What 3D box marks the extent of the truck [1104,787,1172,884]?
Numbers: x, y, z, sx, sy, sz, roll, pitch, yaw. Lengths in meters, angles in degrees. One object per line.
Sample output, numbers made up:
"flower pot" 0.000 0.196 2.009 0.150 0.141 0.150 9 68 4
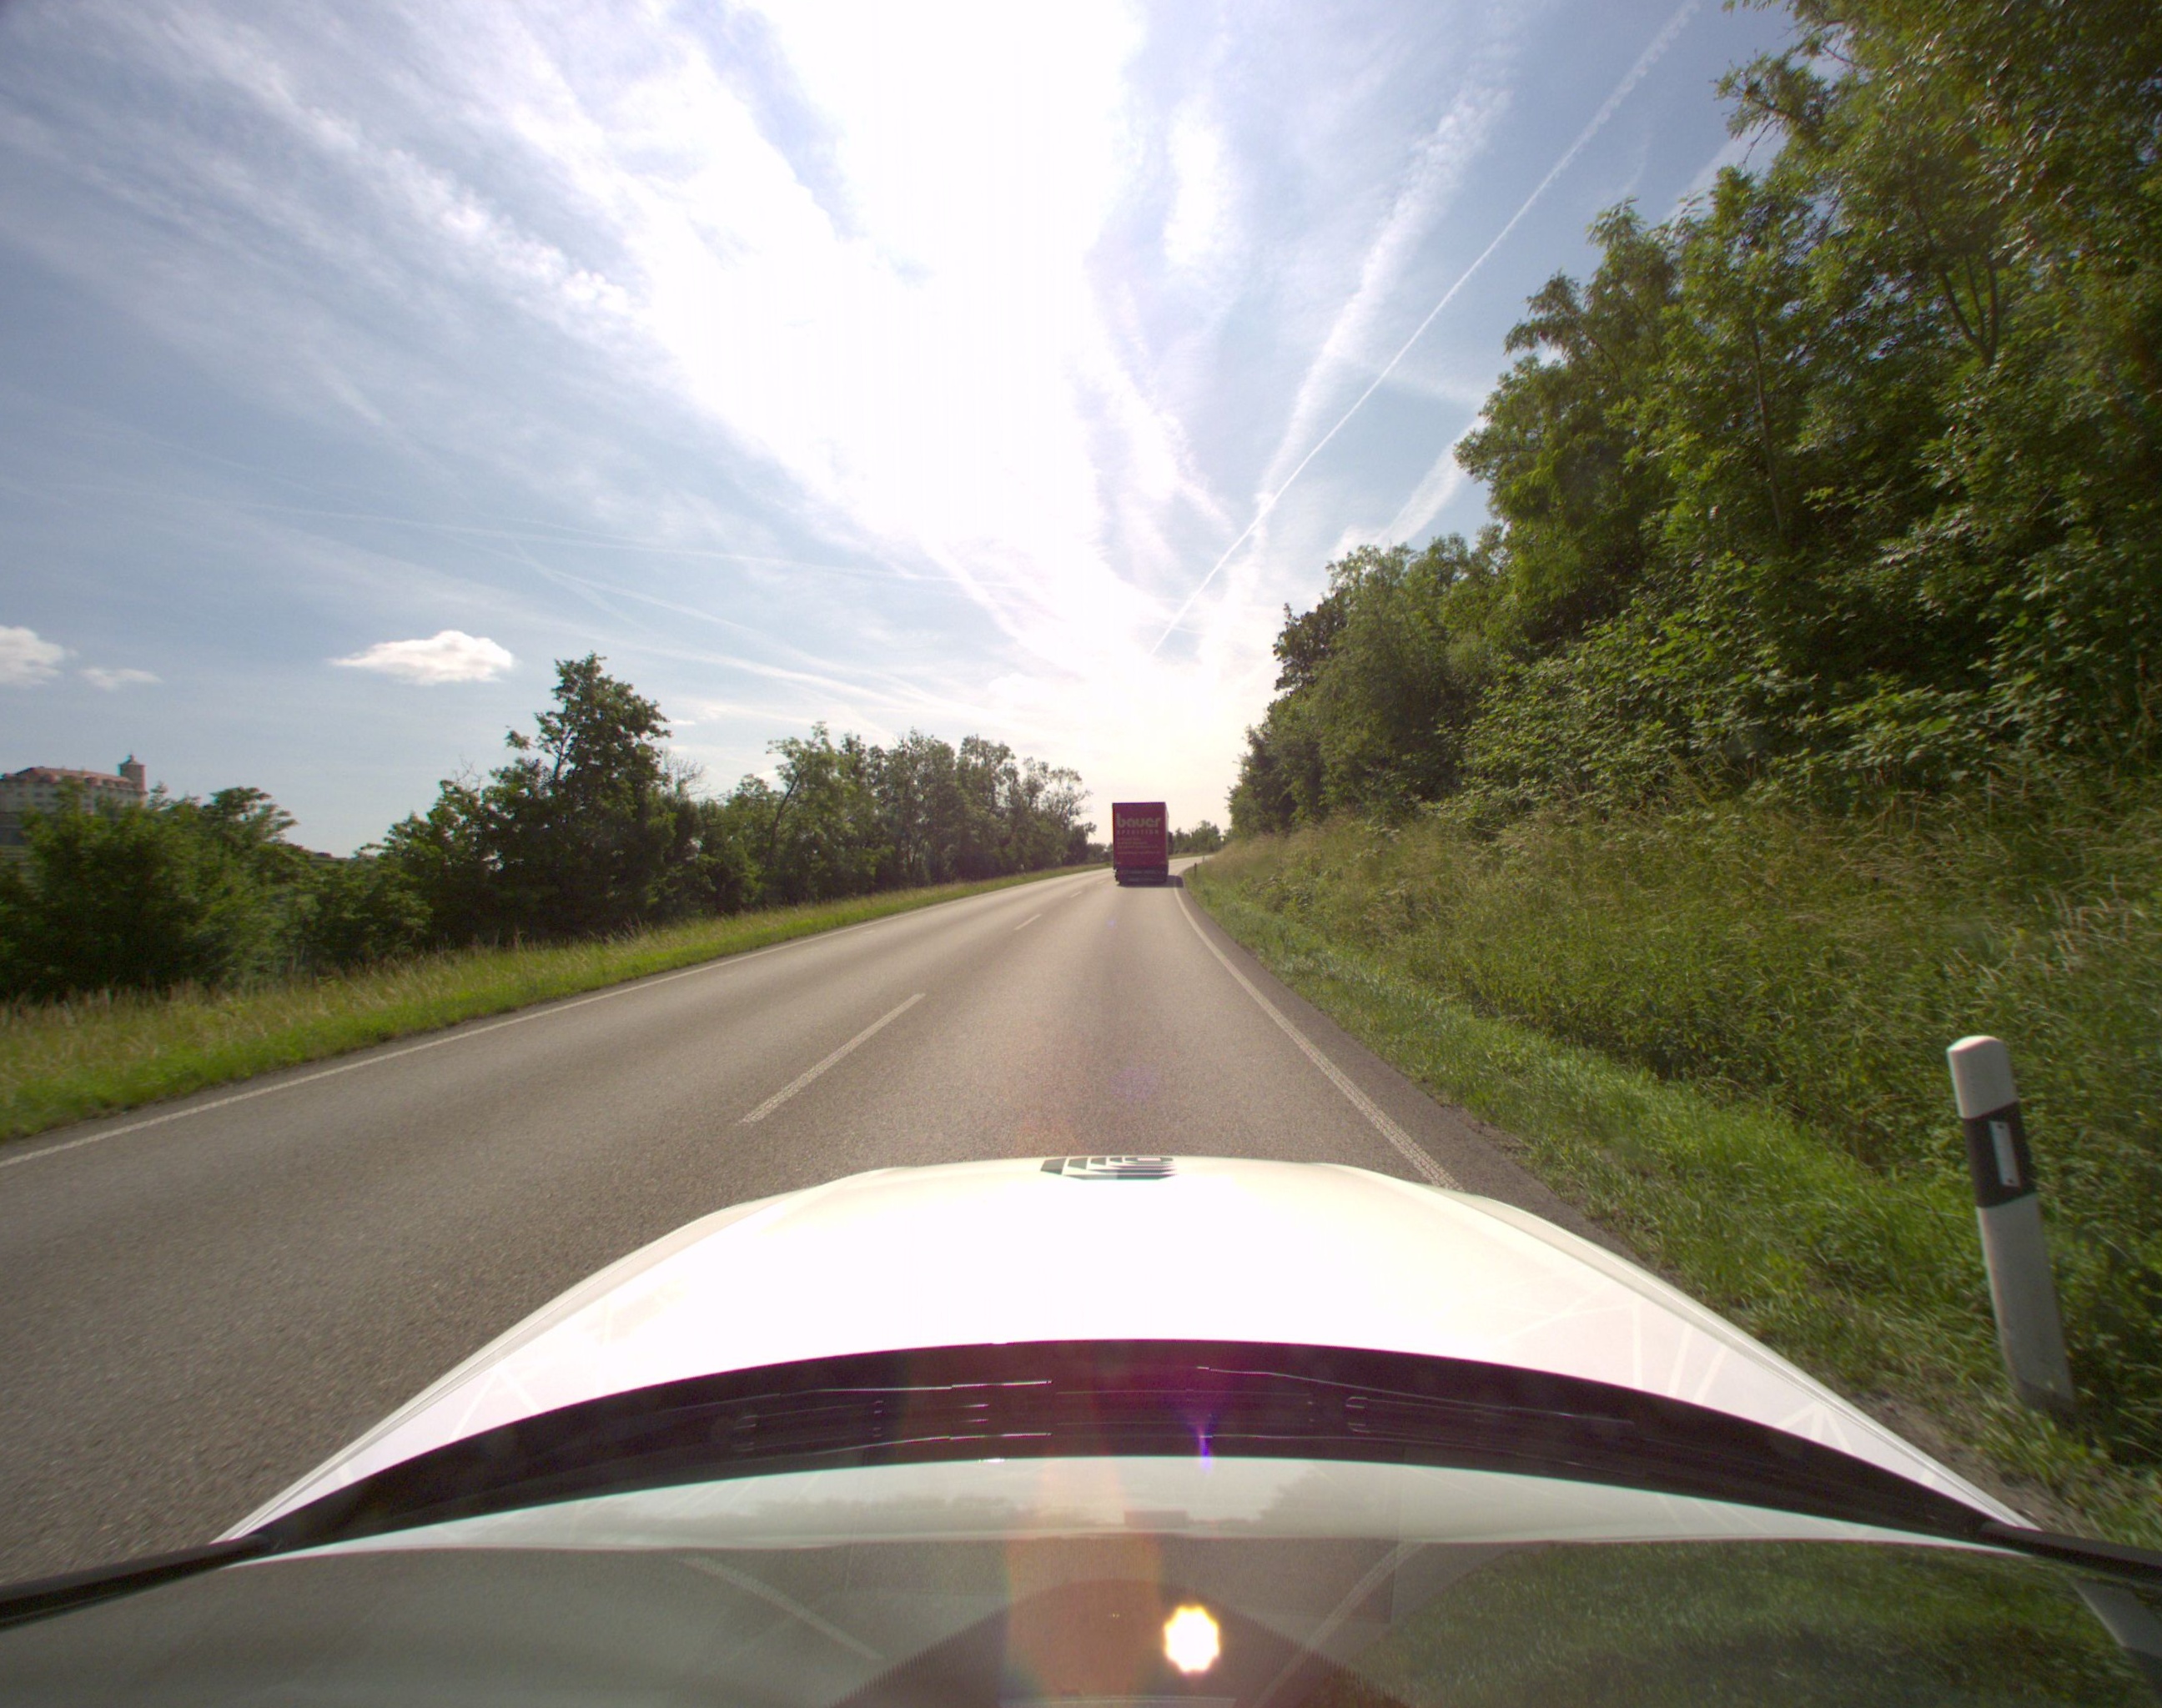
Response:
"truck" 3.285 -0.866 44.439 3.097 4.506 12.187 -1 0 6
